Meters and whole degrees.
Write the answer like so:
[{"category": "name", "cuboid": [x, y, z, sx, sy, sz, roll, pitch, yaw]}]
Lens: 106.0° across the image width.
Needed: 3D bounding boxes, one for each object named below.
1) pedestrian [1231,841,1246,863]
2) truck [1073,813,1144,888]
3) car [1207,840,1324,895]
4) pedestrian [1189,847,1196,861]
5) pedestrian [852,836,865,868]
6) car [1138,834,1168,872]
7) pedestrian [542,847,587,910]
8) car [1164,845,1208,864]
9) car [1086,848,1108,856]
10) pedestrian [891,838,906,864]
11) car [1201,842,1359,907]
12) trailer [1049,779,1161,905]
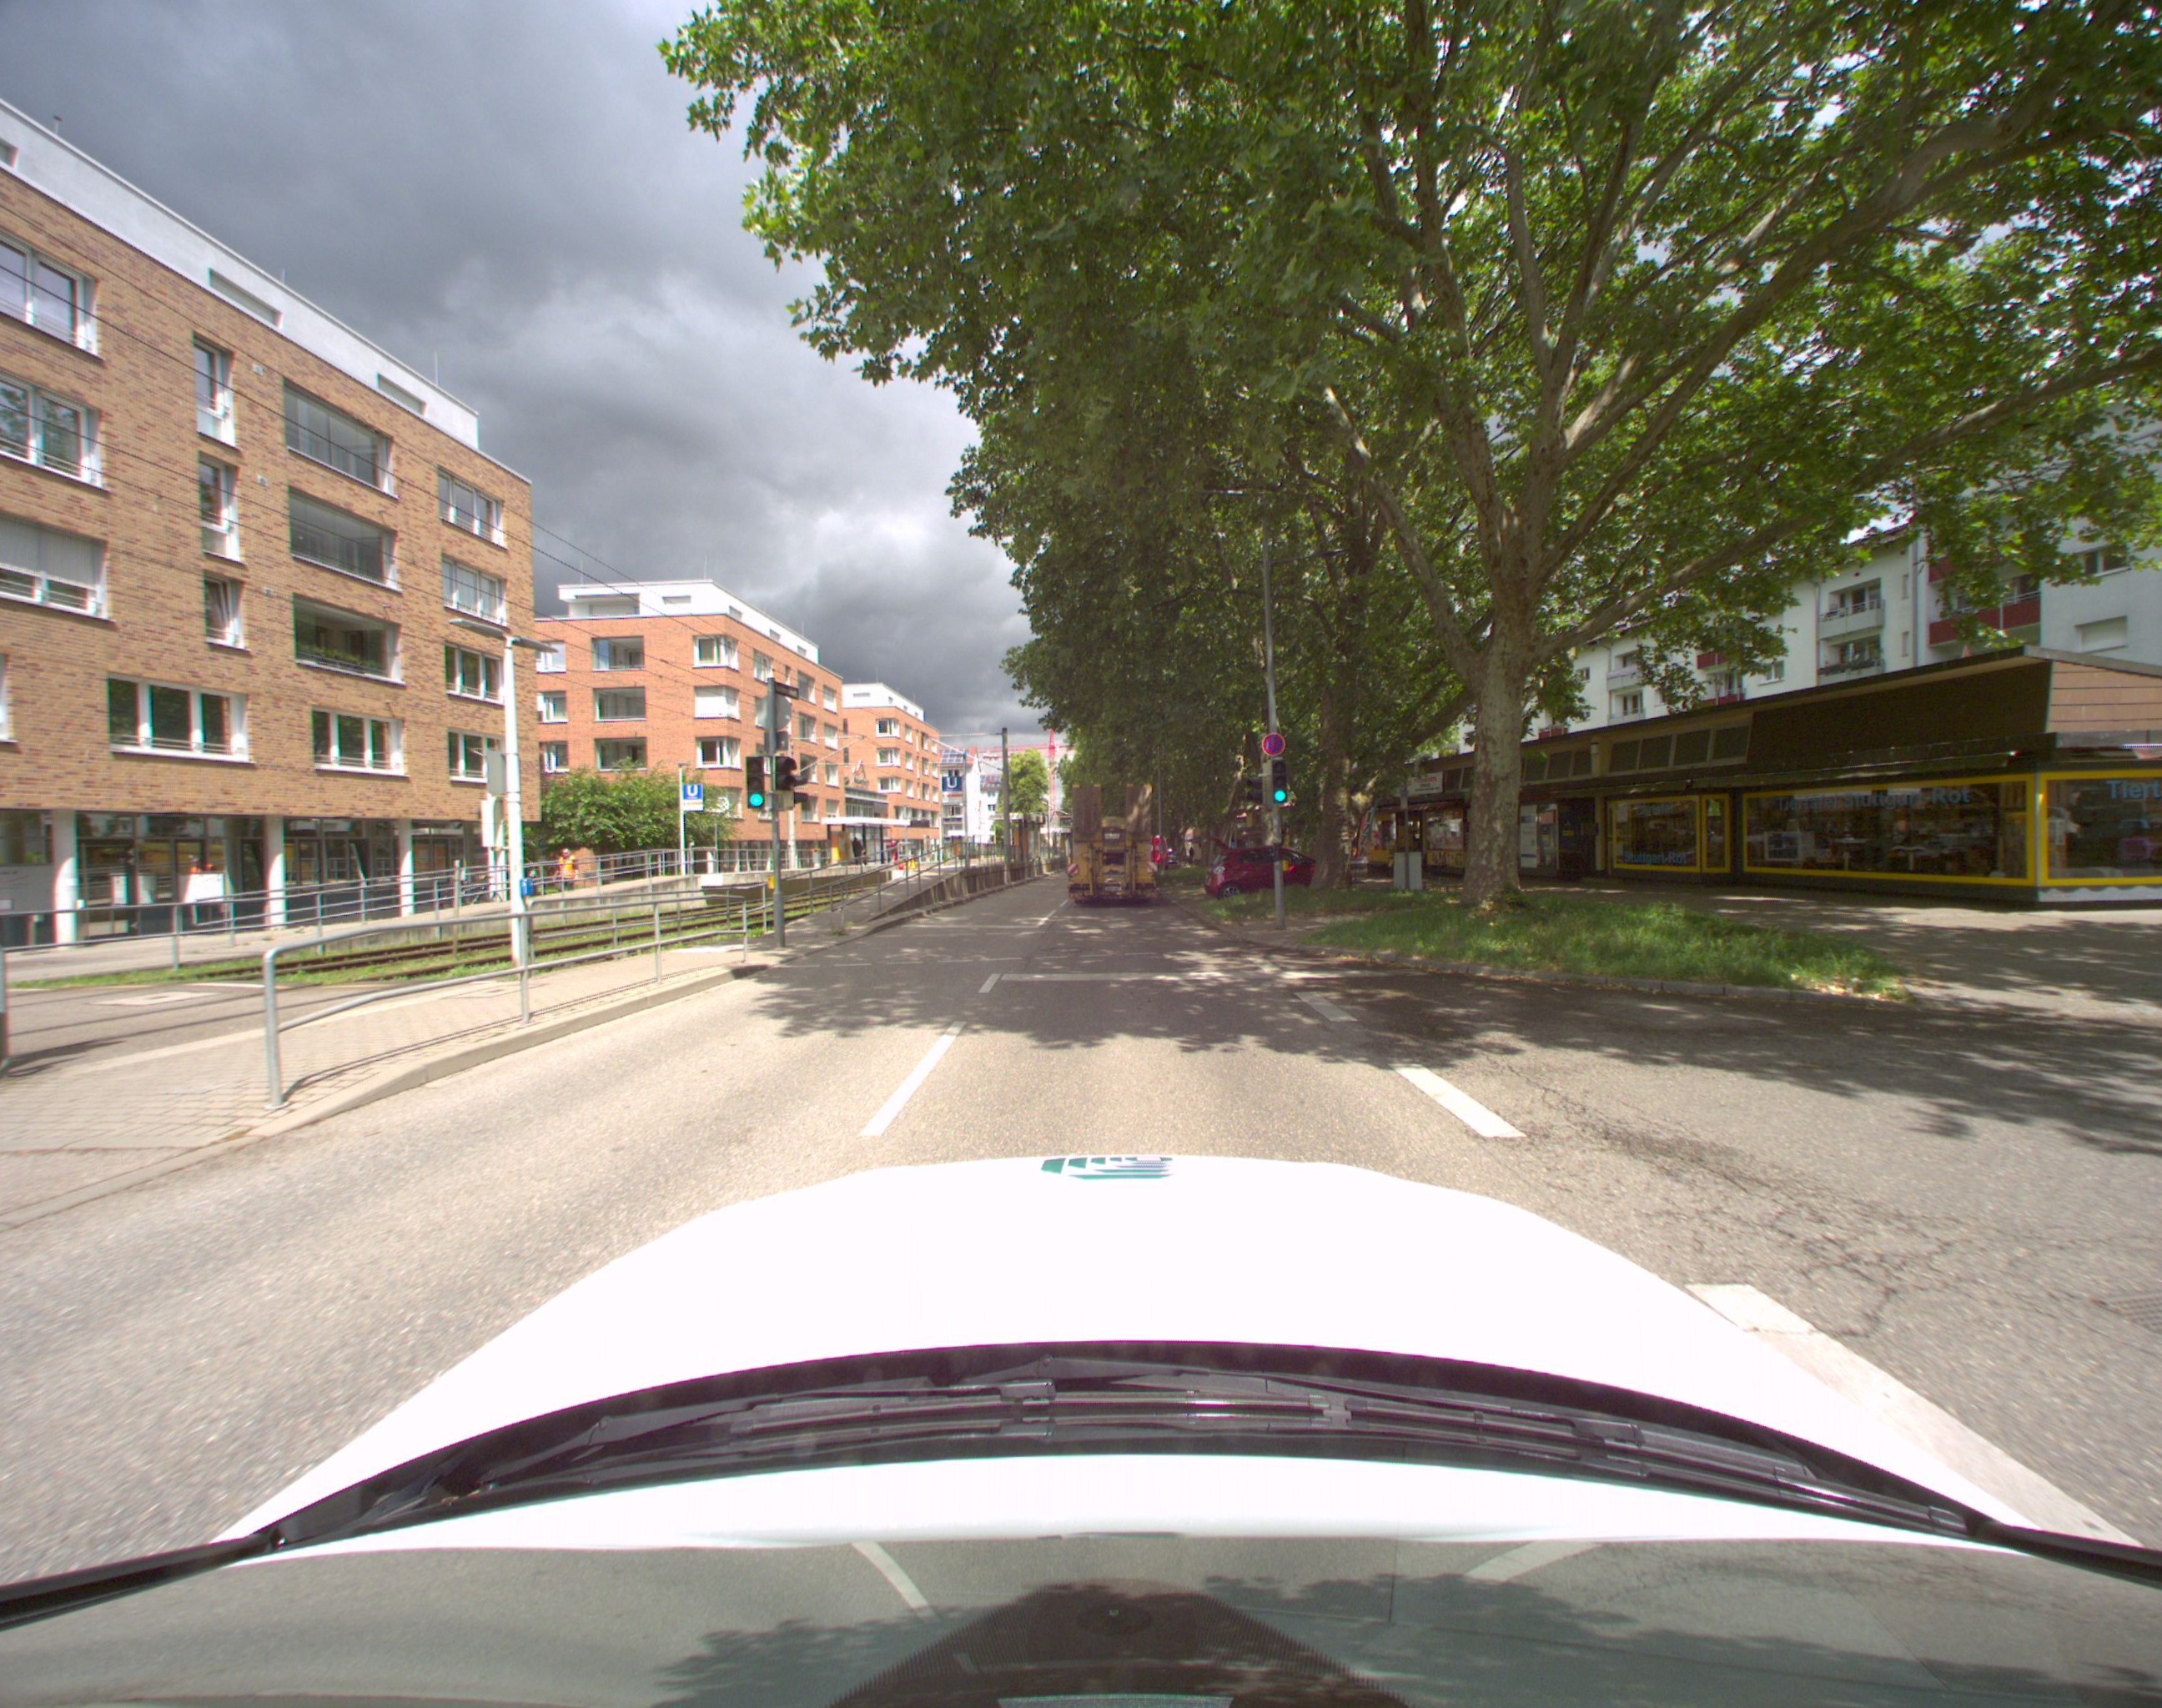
[{"category": "pedestrian", "cuboid": [13.042, -0.188, 67.378, 0.609, 1.801, 0.915, -1, -1, -43]}, {"category": "truck", "cuboid": [1.299, -0.172, 38.146, 2.978, 3.135, 7.892, 0, 0, 2]}, {"category": "car", "cuboid": [6.046, 0.438, 26.881, 3.398, 1.514, 1.609, -4, 0, -2]}, {"category": "pedestrian", "cuboid": [11.639, -0.003, 85.010, 0.693, 1.392, 0.512, -2, 0, -2]}, {"category": "pedestrian", "cuboid": [-12.431, -0.108, 45.475, 0.532, 1.763, 0.528, -1, 0, 0]}, {"category": "car", "cuboid": [5.361, -0.082, 61.103, 1.896, 2.581, 6.839, -3, 0, 3]}, {"category": "pedestrian", "cuboid": [-15.462, 0.713, 24.400, 0.740, 1.825, 0.829, -2, 1, 1]}, {"category": "car", "cuboid": [9.833, 0.056, 76.626, 3.822, 1.562, 1.617, -2, 0, -4]}, {"category": "car", "cuboid": [3.915, -0.457, 201.062, 5.092, 2.102, 1.969, 0, 0, -12]}, {"category": "pedestrian", "cuboid": [-11.869, -0.186, 52.880, 0.748, 1.629, 0.816, 0, 0, 3]}, {"category": "car", "cuboid": [5.407, 0.535, 22.554, 4.010, 1.611, 1.733, -2, 0, 5]}, {"category": "trailer", "cuboid": [0.909, -0.350, 28.610, 3.142, 3.552, 11.103, 0, 0, 2]}]
